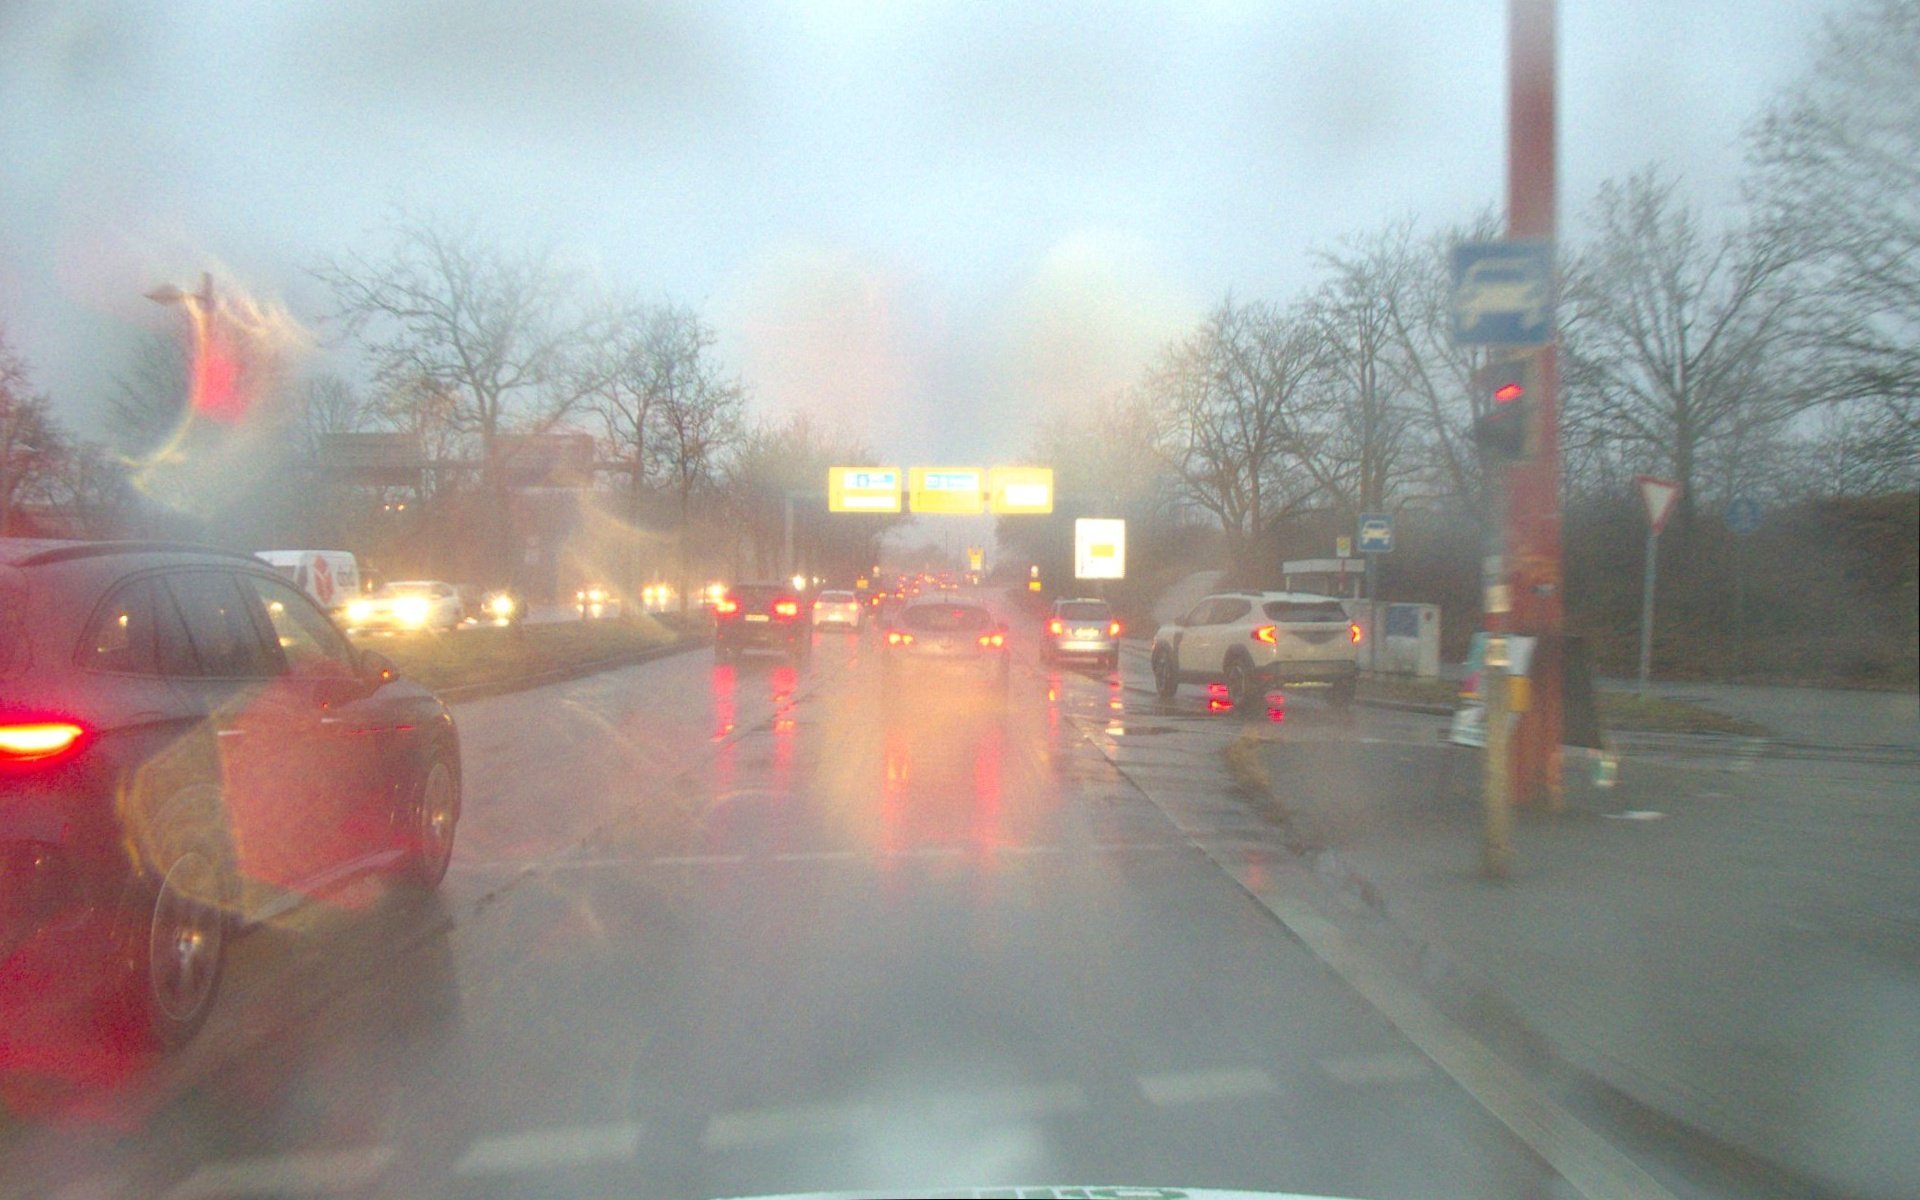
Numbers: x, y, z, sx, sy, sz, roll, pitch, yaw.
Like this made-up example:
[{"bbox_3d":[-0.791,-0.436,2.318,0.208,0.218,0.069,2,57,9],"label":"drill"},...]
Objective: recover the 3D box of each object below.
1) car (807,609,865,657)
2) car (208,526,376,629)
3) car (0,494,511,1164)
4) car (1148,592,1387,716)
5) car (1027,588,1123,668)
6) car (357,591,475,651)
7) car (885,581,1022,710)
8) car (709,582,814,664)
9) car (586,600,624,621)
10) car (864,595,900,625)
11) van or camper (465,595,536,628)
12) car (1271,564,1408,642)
[{"bbox_3d":[-4.431,1.158,59.499,1.785,1.677,4.000,0,0,0],"label":"car"},{"bbox_3d":[-21.476,-0.639,53.630,2.244,3.057,7.347,2,-1,1],"label":"car"},{"bbox_3d":[-3.244,0.572,6.374,1.785,1.677,4.466,0,0,0],"label":"car"},{"bbox_3d":[4.413,0.725,24.446,1.785,1.646,4.393,0,0,-15],"label":"car"},{"bbox_3d":[2.618,0.633,38.455,1.894,1.677,4.466,2,-1,0],"label":"car"},{"bbox_3d":[-14.862,0.543,45.469,1.734,1.563,4.839,0,0,-1],"label":"car"},{"bbox_3d":[-0.073,0.590,23.807,1.785,1.677,4.466,0,0,0],"label":"car"},{"bbox_3d":[-4.238,0.470,35.853,1.785,1.677,4.000,0,0,0],"label":"car"},{"bbox_3d":[-27.305,0.780,127.170,1.952,1.503,4.072,1,0,1],"label":"car"},{"bbox_3d":[-3.591,0.469,76.959,1.474,1.362,4.000,0,0,0],"label":"car"},{"bbox_3d":[-21.258,0.522,76.681,1.865,1.472,5.157,1,0,0],"label":"van or camper"},{"bbox_3d":[8.509,0.061,37.483,1.927,1.648,4.546,-1,0,-2],"label":"car"}]
